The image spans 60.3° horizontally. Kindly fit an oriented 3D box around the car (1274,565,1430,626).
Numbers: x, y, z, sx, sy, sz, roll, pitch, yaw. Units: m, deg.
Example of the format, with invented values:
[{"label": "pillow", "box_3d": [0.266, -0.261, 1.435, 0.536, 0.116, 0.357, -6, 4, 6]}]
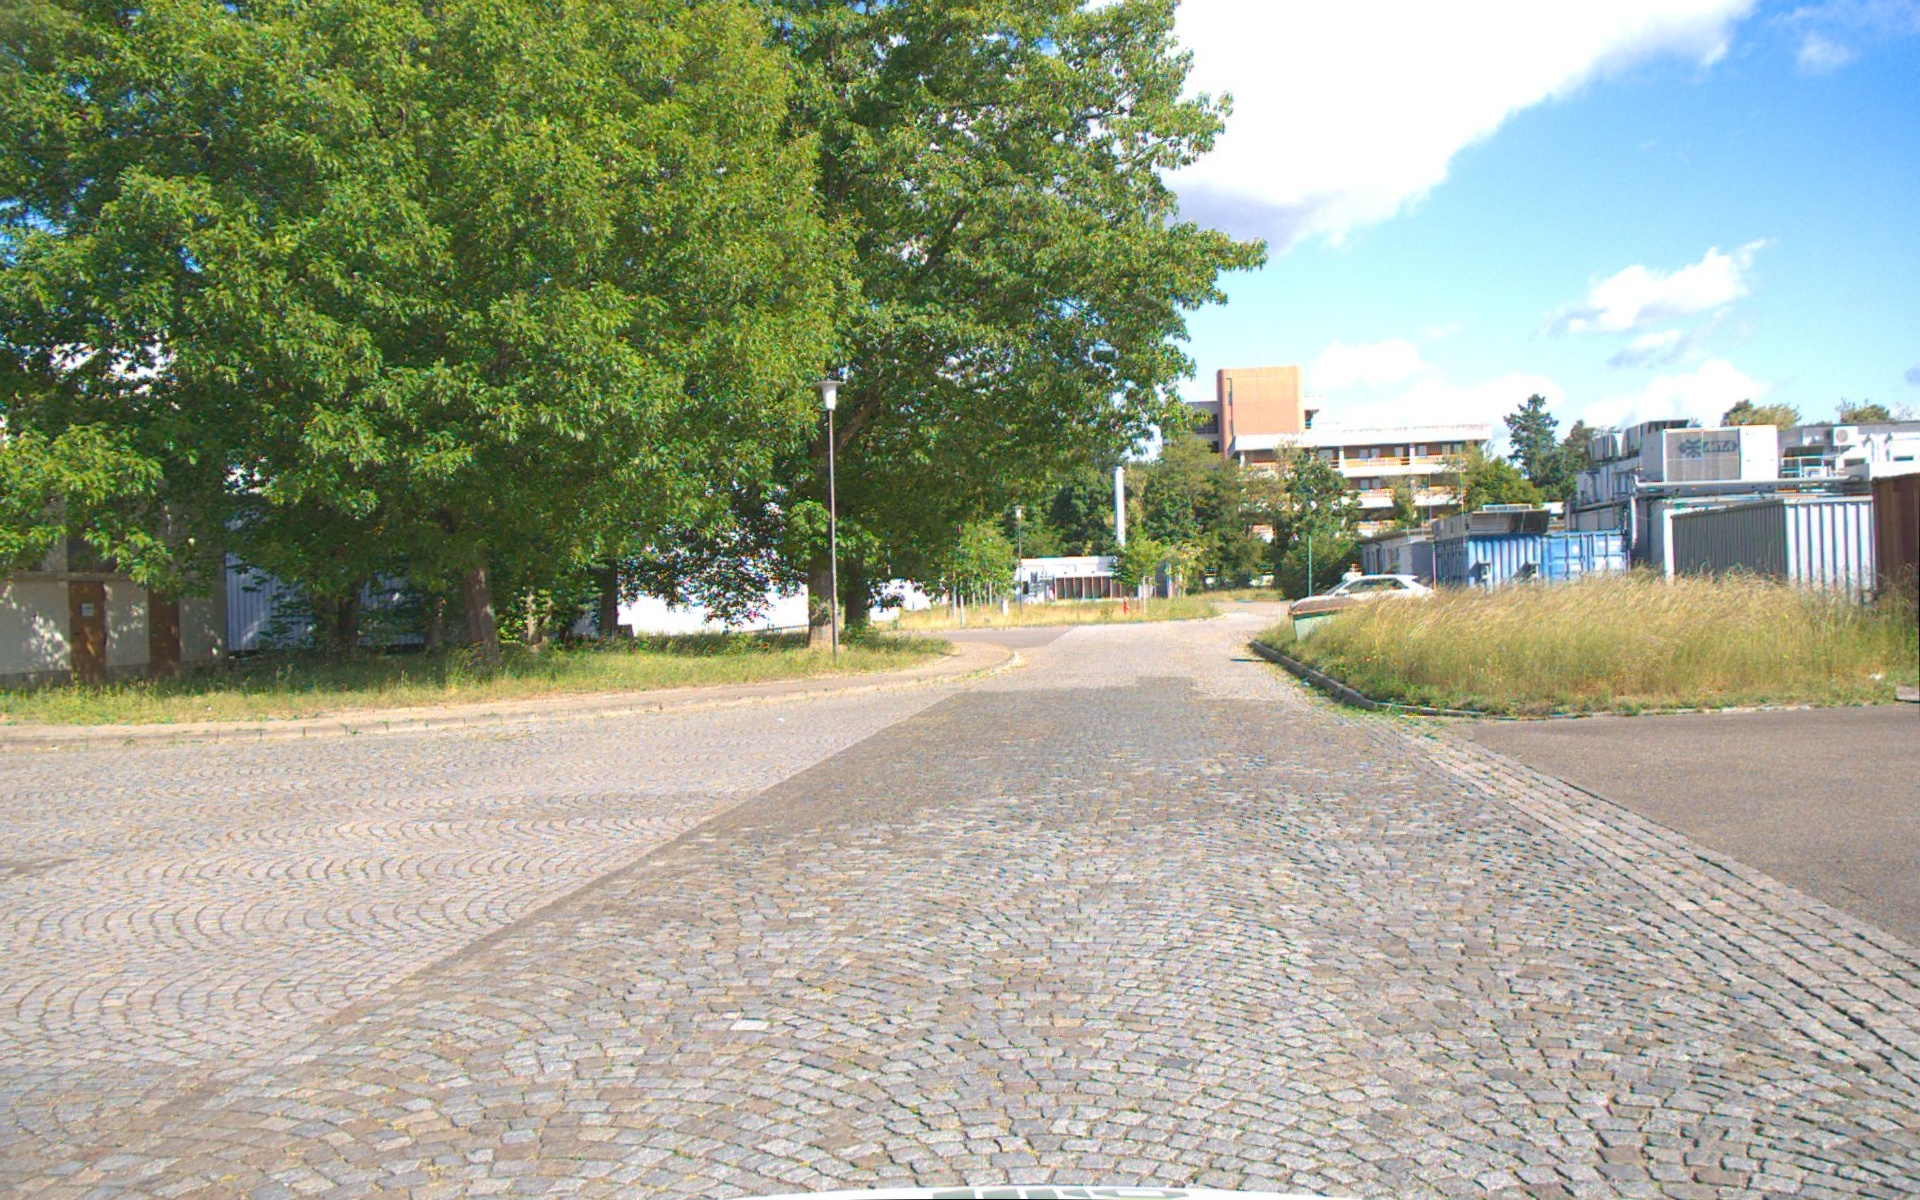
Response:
[{"label": "car", "box_3d": [12.193, -0.145, 51.710, 4.491, 1.706, 1.876, -2, 0, 6]}]
